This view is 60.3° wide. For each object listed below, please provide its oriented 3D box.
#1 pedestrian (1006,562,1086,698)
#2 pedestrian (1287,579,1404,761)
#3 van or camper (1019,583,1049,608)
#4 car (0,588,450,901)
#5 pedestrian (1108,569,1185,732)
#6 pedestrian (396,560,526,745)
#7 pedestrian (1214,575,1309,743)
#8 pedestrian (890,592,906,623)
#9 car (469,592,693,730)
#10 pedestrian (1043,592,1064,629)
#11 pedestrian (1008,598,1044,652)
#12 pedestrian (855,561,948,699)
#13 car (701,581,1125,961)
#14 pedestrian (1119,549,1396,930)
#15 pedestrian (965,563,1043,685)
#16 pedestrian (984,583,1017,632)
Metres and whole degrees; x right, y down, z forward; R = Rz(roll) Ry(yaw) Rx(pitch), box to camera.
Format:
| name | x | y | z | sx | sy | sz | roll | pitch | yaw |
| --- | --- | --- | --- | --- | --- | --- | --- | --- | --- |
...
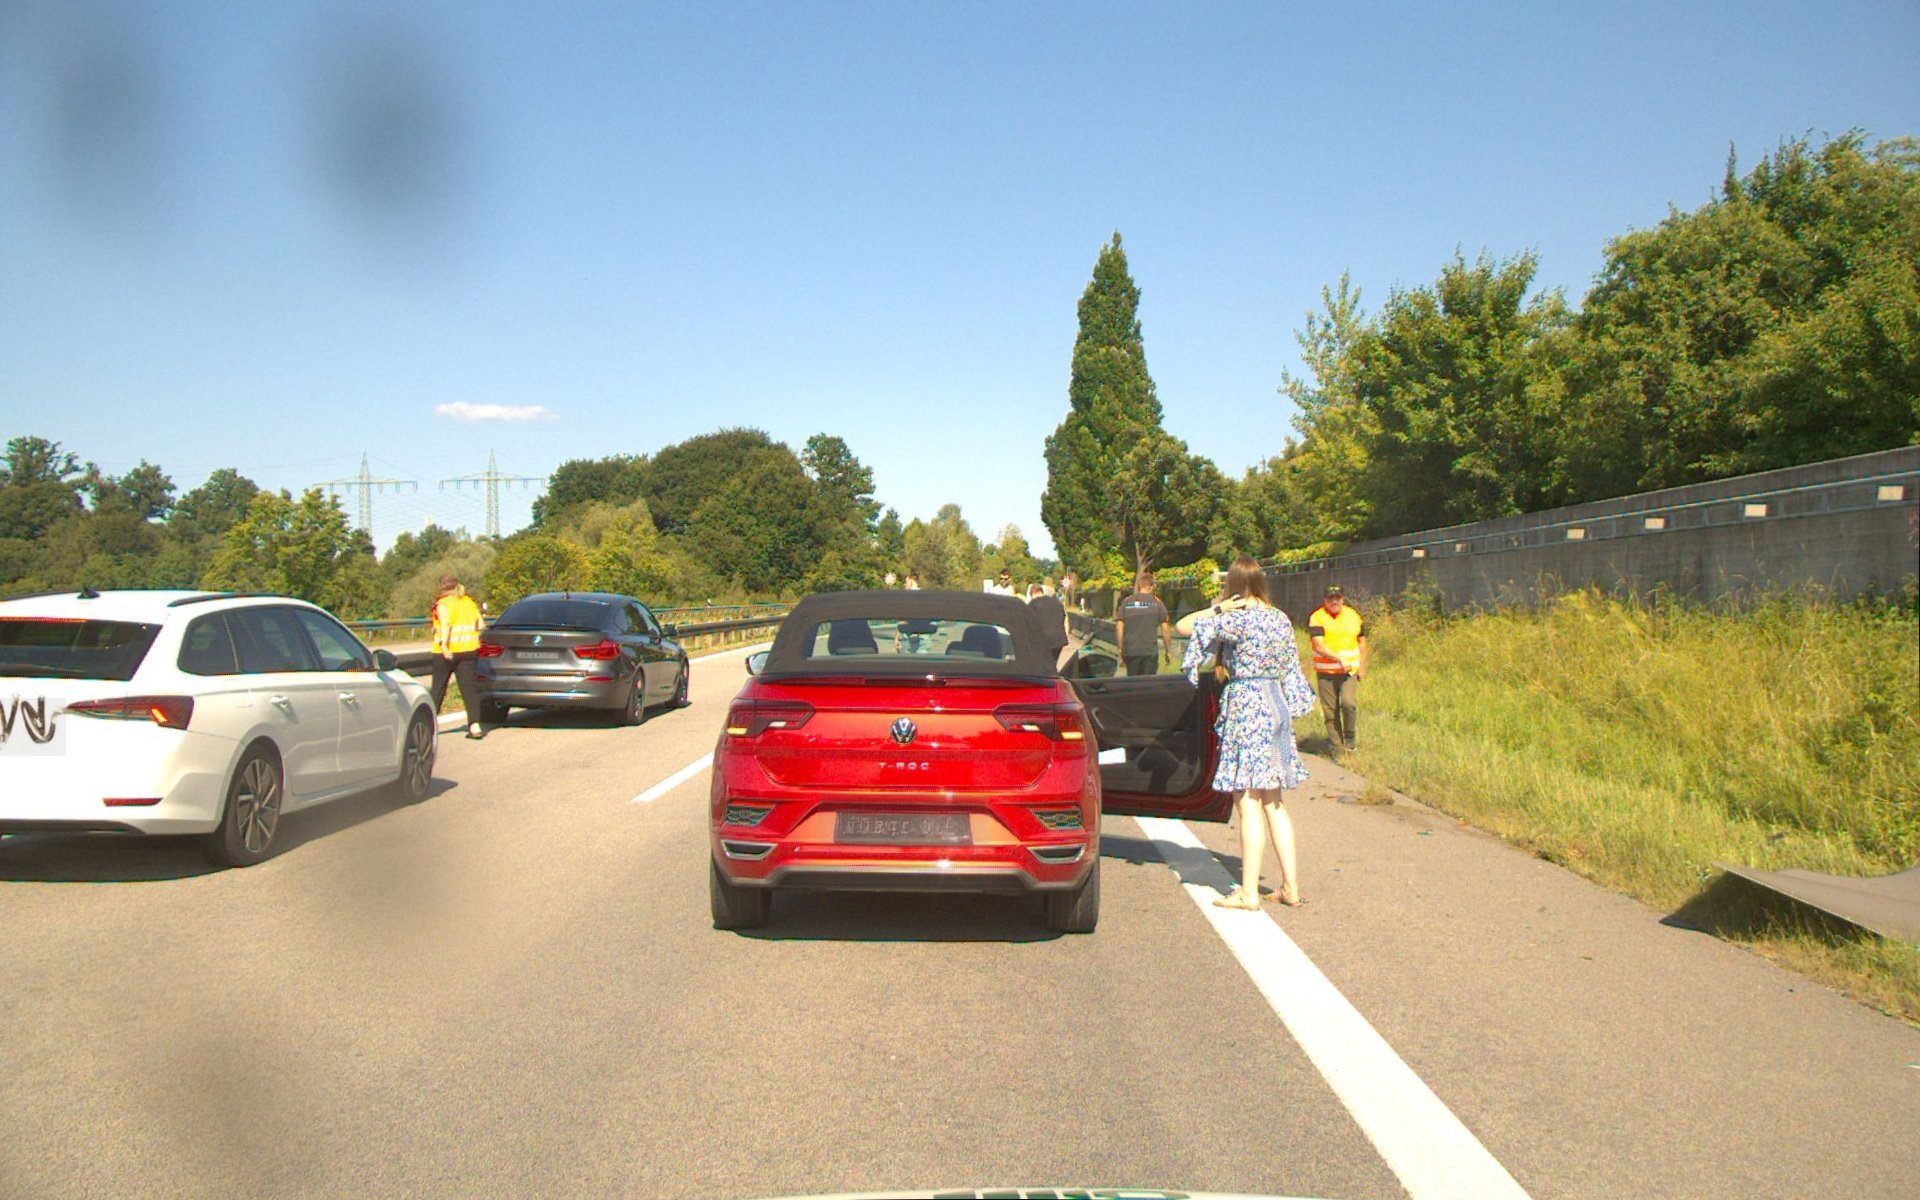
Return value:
| name | x | y | z | sx | sy | sz | roll | pitch | yaw |
| --- | --- | --- | --- | --- | --- | --- | --- | --- | --- |
| pedestrian | 1.233 | 0.416 | 23.965 | 1.067 | 1.916 | 1.068 | -1 | 0 | -1 |
| pedestrian | 3.712 | 0.649 | 16.019 | 0.937 | 1.682 | 1.279 | -1 | 0 | 6 |
| van or camper | 7.179 | -0.416 | 160.843 | 1.951 | 2.356 | 4.473 | 1 | 0 | 15 |
| car | -4.563 | 0.673 | 9.960 | 1.660 | 1.467 | 4.210 | 1 | 0 | 0 |
| pedestrian | 2.129 | 0.565 | 18.772 | 0.794 | 1.790 | 0.829 | 1 | -1 | 10 |
| pedestrian | -5.075 | 0.505 | 16.788 | 1.030 | 1.794 | 1.107 | -1 | 0 | -31 |
| pedestrian | 3.231 | 0.622 | 17.791 | 0.876 | 1.755 | 0.754 | 1 | 0 | 1 |
| pedestrian | -3.484 | 0.404 | 92.979 | 0.775 | 1.719 | 0.793 | 1 | 0 | 5 |
| car | -4.392 | 0.643 | 19.823 | 1.660 | 1.451 | 4.334 | 1 | 0 | 0 |
| pedestrian | 4.492 | 0.493 | 79.102 | 0.975 | 1.719 | 1.011 | 1 | 0 | 3 |
| pedestrian | 2.136 | 0.794 | 53.331 | 1.033 | 1.719 | 1.018 | 1 | 0 | 7 |
| pedestrian | -0.781 | 0.399 | 22.537 | 1.080 | 1.820 | 1.092 | 1 | 0 | 6 |
| car | -0.185 | 0.683 | 8.805 | 1.697 | 1.513 | 4.210 | 1 | 0 | 0 |
| pedestrian | 1.442 | 0.627 | 8.183 | 0.878 | 1.725 | 1.121 | -1 | 0 | -23 |
| pedestrian | 0.706 | 0.387 | 27.245 | 1.085 | 1.946 | 1.255 | -1 | 0 | -8 |
| pedestrian | 1.438 | 0.267 | 58.696 | 1.090 | 1.719 | 0.974 | 1 | 0 | 4 |
